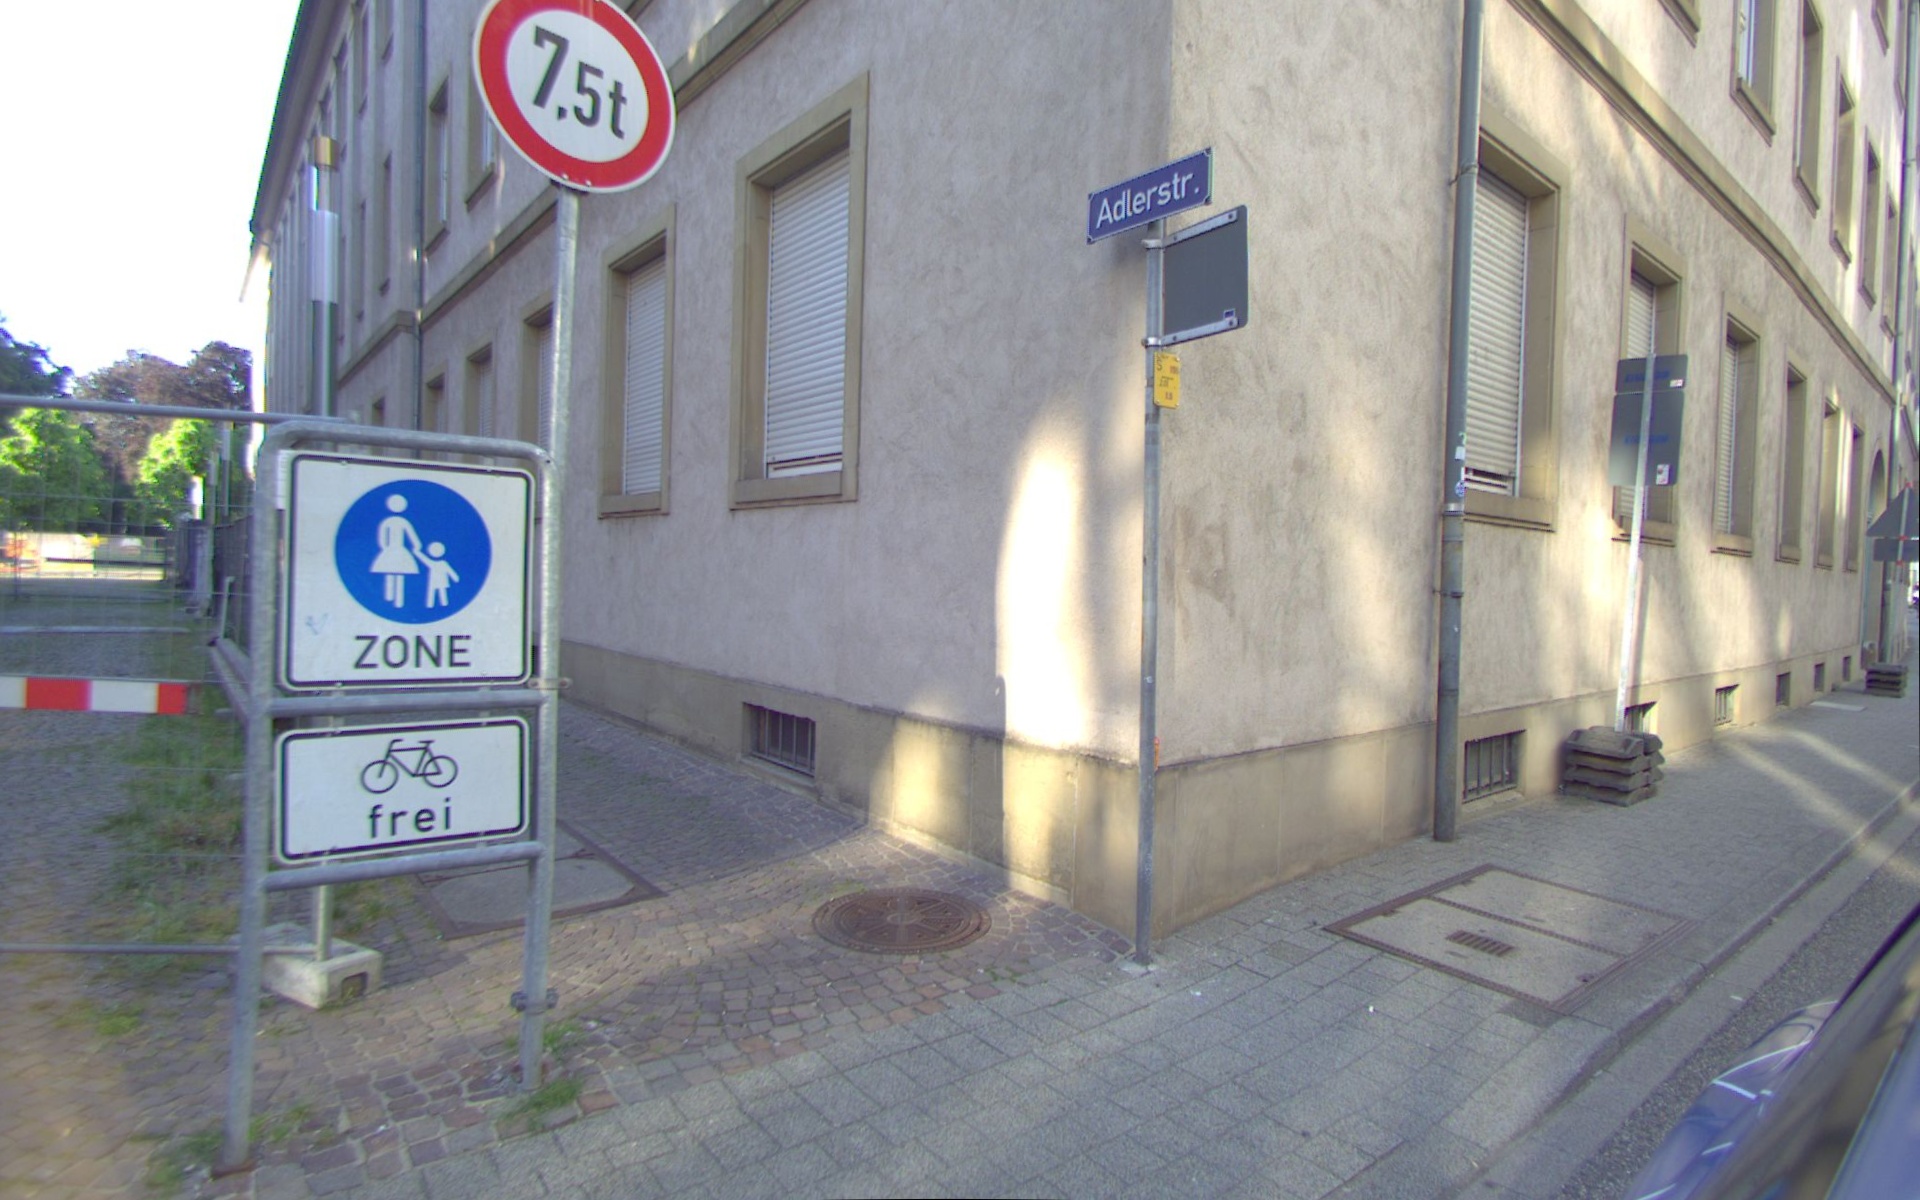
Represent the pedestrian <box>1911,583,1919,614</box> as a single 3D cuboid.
[{"bbox_3d":[63.964,-0.115,67.489,0.687,2.038,0.714,0,2,-43],"label":"pedestrian"}]
